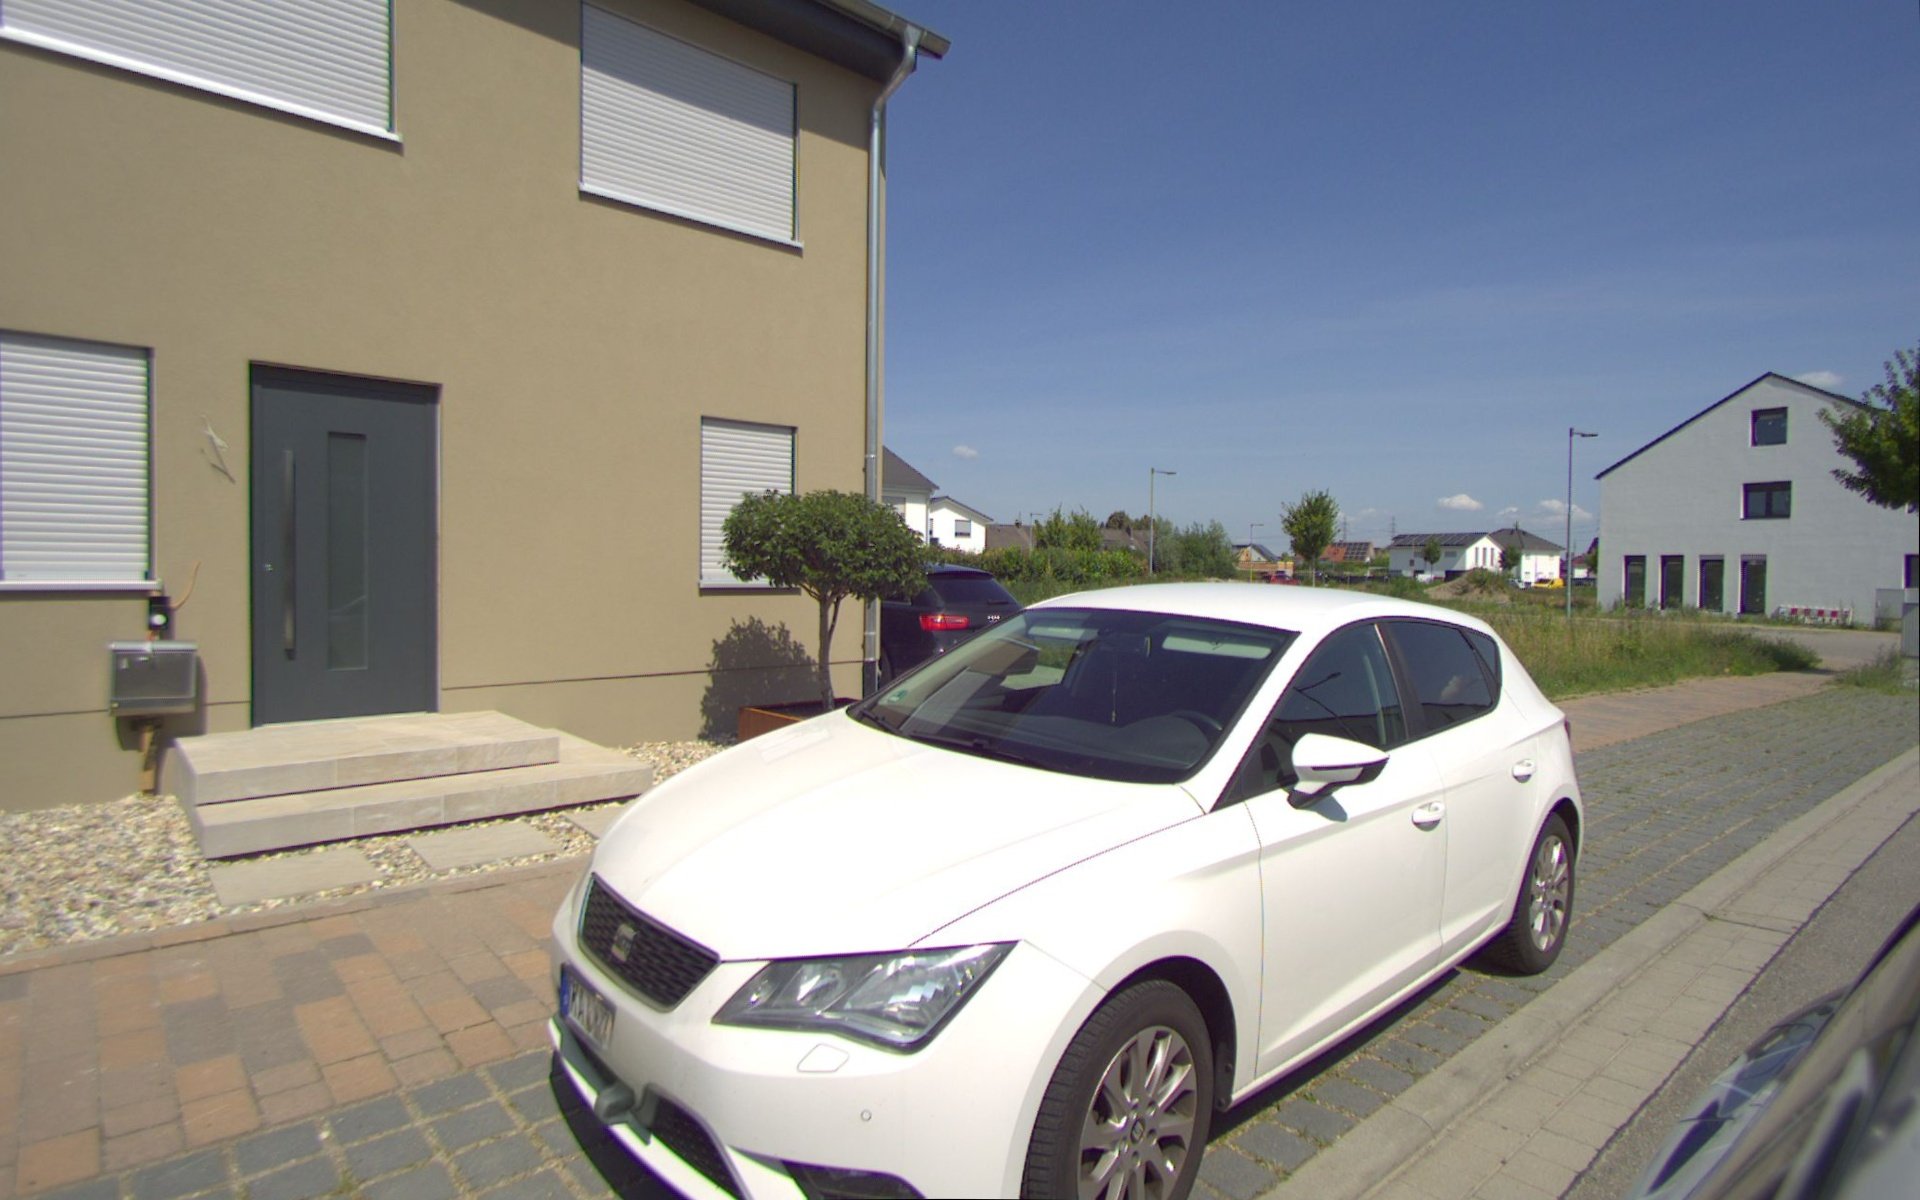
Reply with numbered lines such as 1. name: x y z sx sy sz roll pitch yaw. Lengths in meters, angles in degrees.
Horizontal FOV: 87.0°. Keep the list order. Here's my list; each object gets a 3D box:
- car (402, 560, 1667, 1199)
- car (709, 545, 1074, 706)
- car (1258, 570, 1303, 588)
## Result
1. car: 0.755 0.659 3.562 4.486 1.473 1.818 -1 3 -42
2. car: -1.074 0.144 12.405 1.964 1.443 4.901 0 4 -39
3. car: 29.011 -1.892 91.613 3.923 1.636 1.810 0 2 -33
